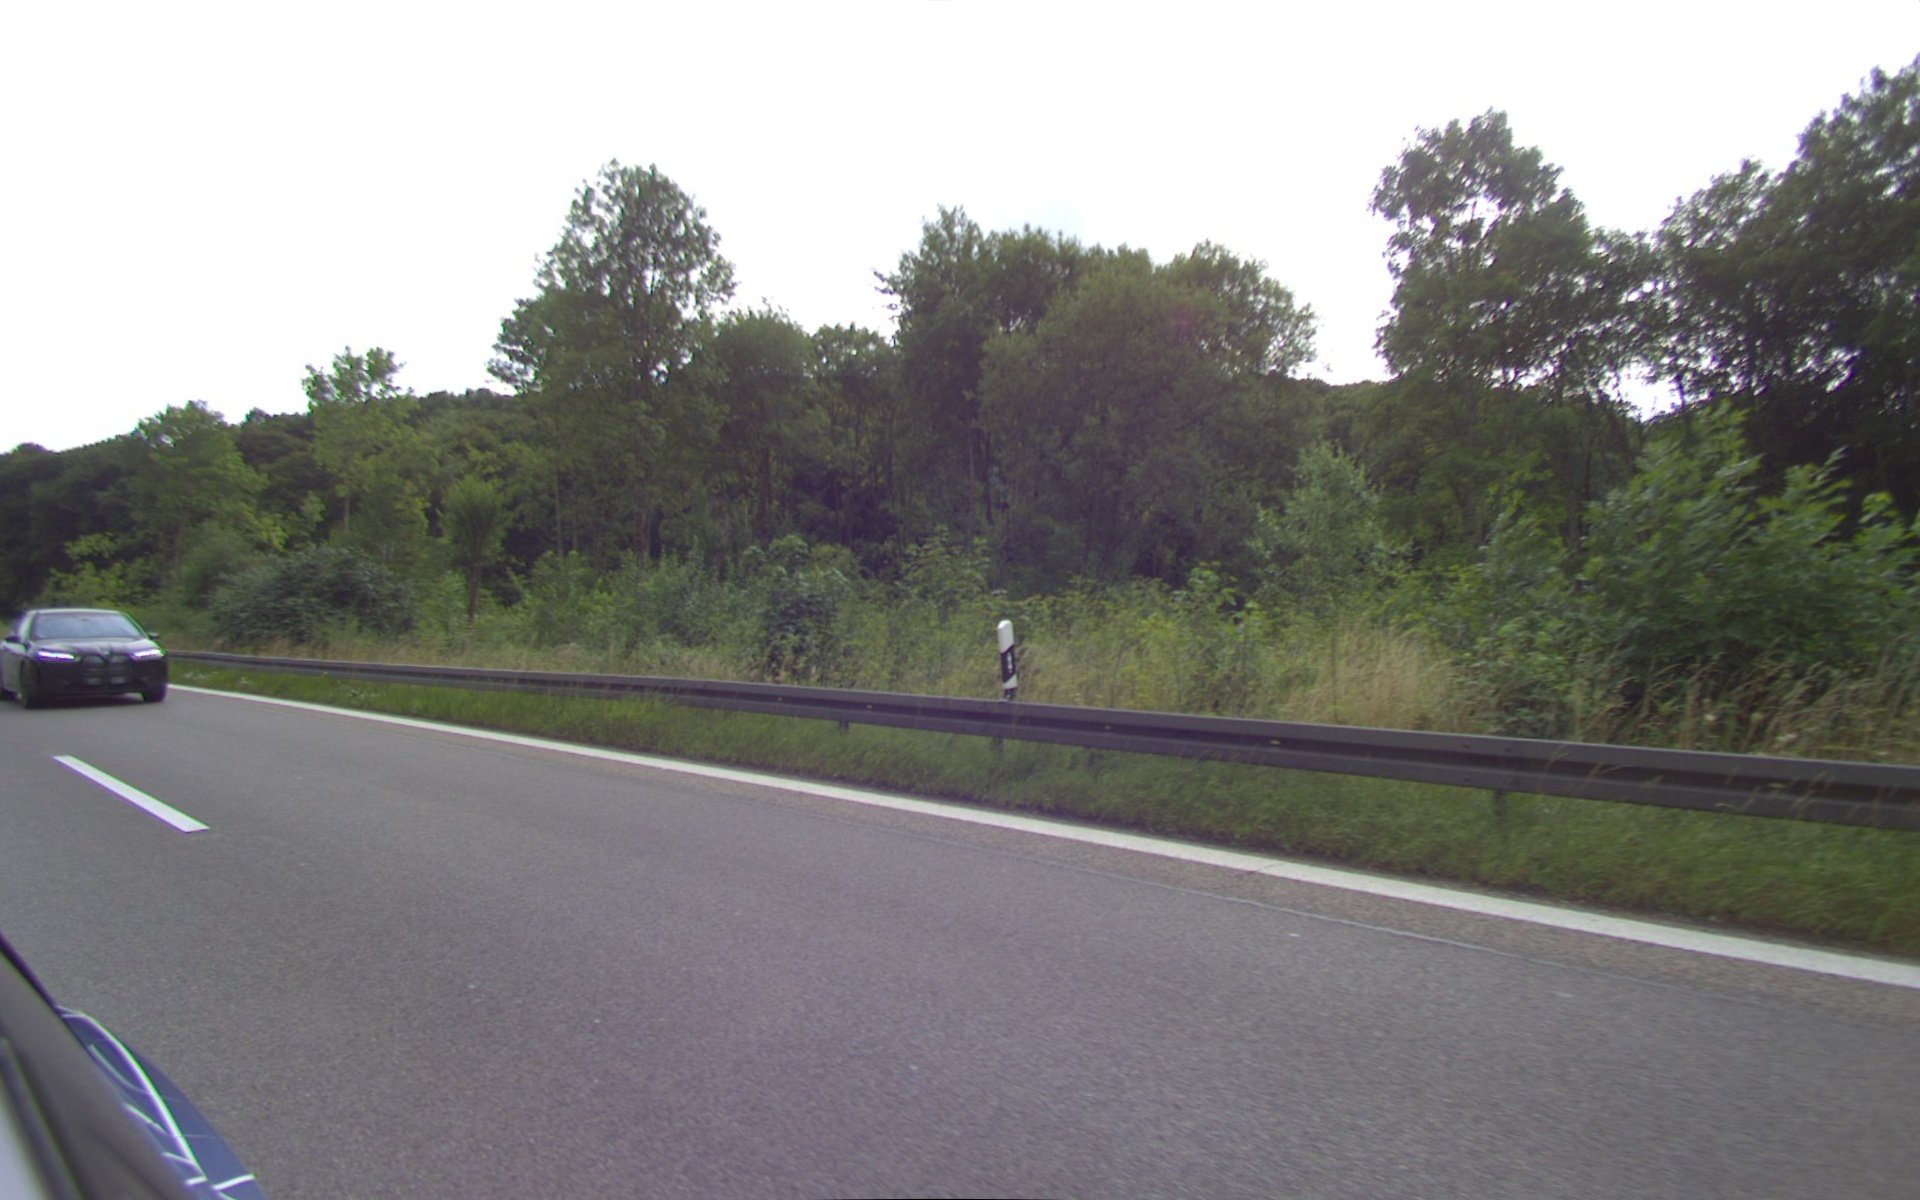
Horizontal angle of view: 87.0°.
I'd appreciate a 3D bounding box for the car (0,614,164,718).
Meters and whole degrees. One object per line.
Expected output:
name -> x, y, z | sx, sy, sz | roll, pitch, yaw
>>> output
car -> -16.230, 1.102, 18.541 | 4.415, 1.678, 1.971 | -1, -1, 43
